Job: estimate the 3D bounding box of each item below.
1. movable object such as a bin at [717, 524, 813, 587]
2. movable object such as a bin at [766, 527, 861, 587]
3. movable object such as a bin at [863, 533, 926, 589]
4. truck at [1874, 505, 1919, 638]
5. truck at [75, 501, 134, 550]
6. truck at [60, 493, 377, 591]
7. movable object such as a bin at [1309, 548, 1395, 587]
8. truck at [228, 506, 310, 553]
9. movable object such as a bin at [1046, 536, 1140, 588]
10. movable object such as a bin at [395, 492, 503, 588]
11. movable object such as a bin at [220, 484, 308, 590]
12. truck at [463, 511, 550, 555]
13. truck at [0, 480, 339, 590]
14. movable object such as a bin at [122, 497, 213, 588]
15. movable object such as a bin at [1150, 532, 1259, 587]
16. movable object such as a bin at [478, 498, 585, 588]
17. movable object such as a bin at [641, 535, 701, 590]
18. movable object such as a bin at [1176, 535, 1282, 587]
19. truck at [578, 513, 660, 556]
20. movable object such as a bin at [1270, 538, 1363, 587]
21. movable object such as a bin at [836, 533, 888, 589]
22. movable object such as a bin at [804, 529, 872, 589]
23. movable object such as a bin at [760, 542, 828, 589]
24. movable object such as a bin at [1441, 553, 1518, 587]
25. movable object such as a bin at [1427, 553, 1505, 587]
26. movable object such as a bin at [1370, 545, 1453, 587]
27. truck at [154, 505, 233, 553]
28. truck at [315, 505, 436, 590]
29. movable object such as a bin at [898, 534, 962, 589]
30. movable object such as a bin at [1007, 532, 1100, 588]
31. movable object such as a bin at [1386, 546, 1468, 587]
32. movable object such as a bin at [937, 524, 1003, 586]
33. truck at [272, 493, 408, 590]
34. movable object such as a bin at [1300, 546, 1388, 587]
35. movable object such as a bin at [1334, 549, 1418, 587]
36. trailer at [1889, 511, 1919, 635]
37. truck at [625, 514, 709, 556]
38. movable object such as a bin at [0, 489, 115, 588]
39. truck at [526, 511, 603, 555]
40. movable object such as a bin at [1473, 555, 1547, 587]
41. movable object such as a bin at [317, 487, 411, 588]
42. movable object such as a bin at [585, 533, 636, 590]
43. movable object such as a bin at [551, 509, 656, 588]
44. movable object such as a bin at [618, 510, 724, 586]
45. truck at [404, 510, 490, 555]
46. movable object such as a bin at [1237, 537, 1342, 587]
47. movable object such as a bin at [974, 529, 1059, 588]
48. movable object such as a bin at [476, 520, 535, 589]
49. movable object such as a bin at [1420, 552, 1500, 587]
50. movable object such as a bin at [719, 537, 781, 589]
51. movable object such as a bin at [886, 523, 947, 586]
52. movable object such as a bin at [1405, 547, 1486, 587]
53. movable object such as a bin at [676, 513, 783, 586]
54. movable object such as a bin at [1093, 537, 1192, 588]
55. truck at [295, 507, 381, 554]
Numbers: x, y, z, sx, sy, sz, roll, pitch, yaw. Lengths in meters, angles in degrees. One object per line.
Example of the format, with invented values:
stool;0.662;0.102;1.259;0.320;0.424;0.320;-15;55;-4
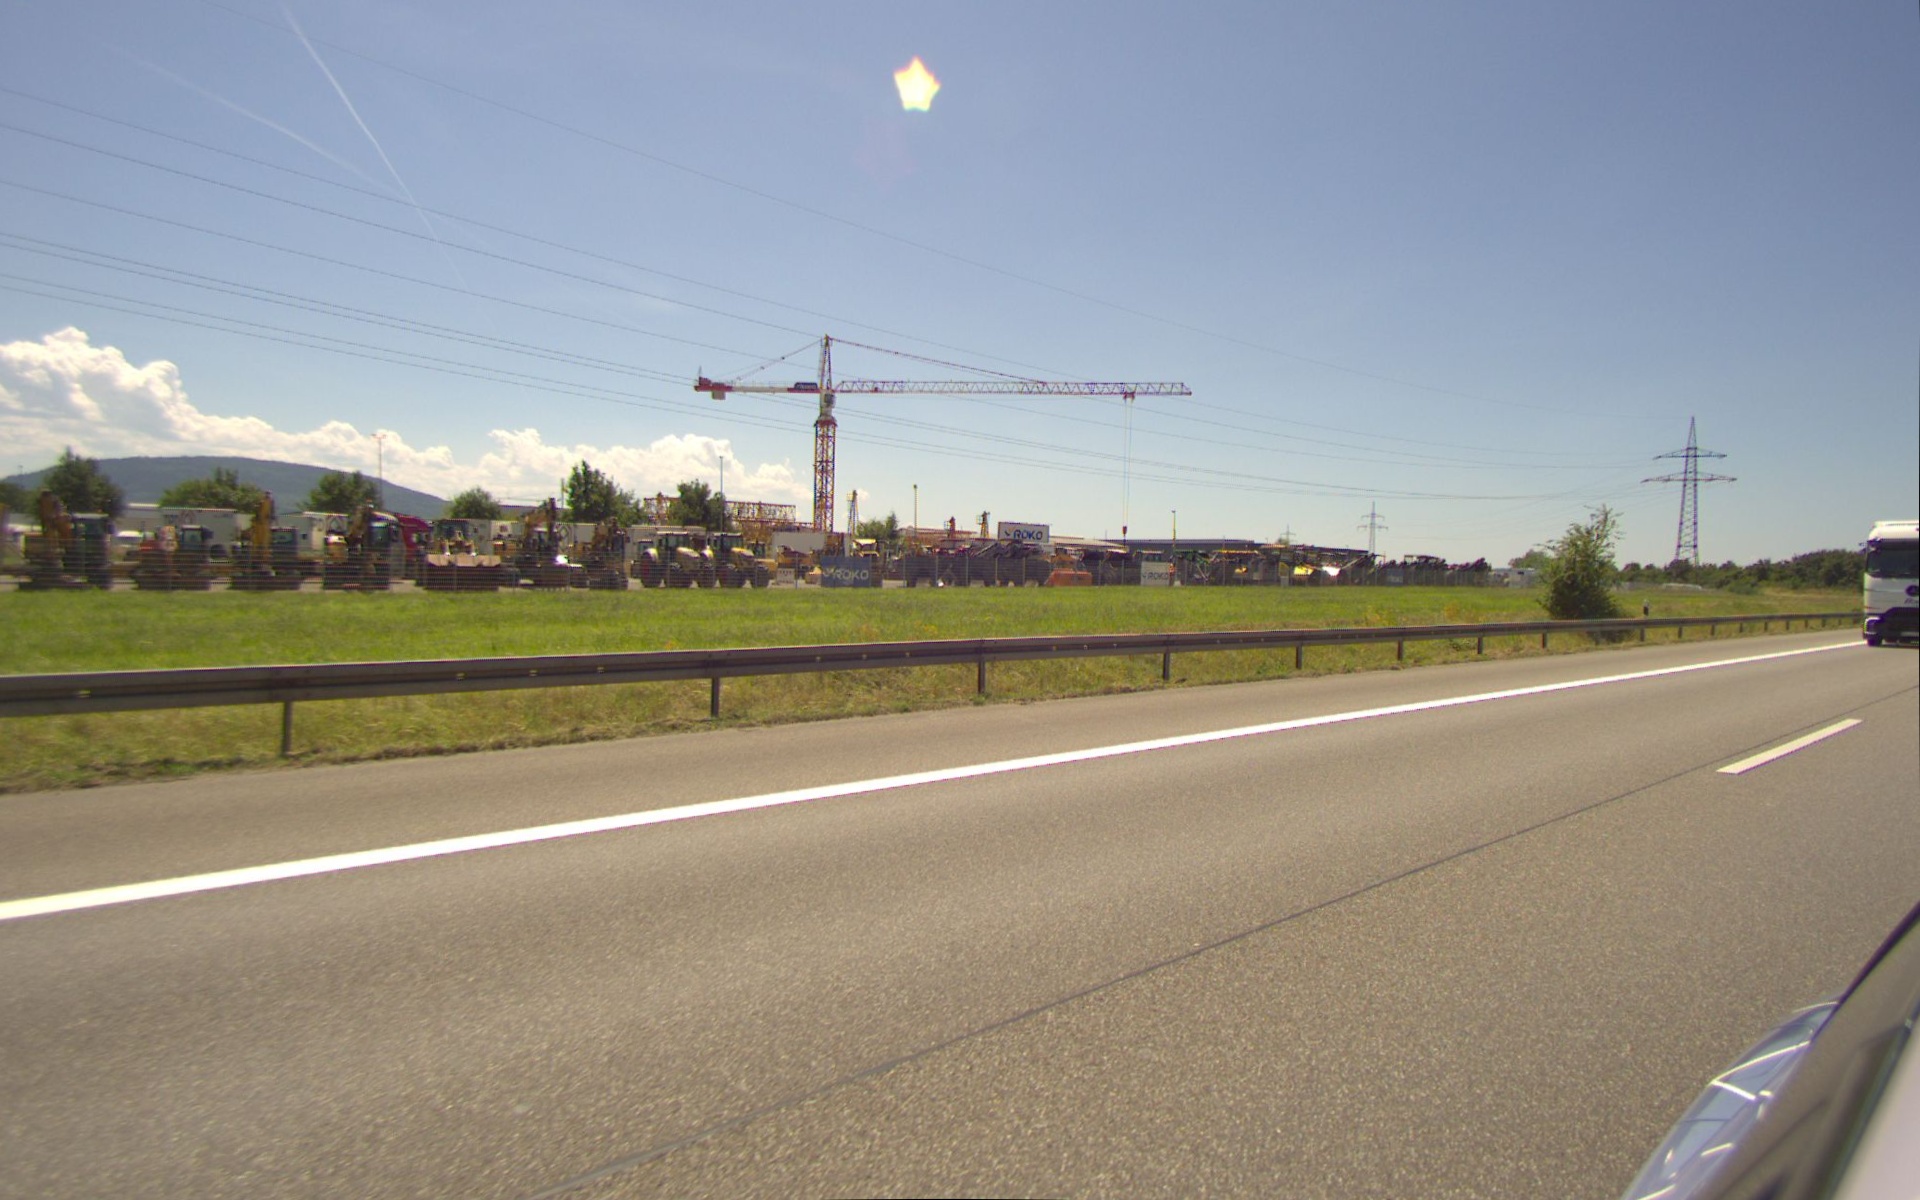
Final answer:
movable object such as a bin;-13.331;-2.893;68.559;3.080;4.001;8.114;0;0;-38
movable object such as a bin;-10.517;-2.935;71.776;3.080;4.001;8.114;0;0;-38
movable object such as a bin;-6.132;-3.434;92.922;3.072;4.803;9.625;0;0;-20
truck;30.751;-0.868;31.620;5.622;3.942;2.572;-1;1;-40
truck;-63.947;-5.541;75.613;2.713;3.453;8.153;0;3;-45
truck;-40.424;-2.967;56.033;13.880;4.832;3.051;-1;0;-39
movable object such as a bin;41.015;-3.342;106.156;2.829;3.955;8.114;0;0;-38
truck;-53.560;-5.452;78.363;8.122;3.453;2.603;3;3;35
movable object such as a bin;11.058;-3.091;85.556;3.365;4.103;9.403;0;0;-25
movable object such as a bin;-25.497;-2.779;50.264;3.290;4.351;8.114;0;0;-38
movable object such as a bin;-31.563;-2.641;45.723;2.829;4.351;8.114;0;0;-38
truck;-37.535;-5.576;83.642;8.122;3.453;2.802;3;3;35
truck;-38.713;-2.918;49.405;14.067;4.832;3.051;-1;0;-39
movable object such as a bin;-33.961;-2.272;43.470;2.829;3.507;8.114;0;0;-38
movable object such as a bin;21.414;-3.425;89.249;3.374;4.569;9.379;0;0;-38
movable object such as a bin;-22.749;-2.820;53.423;3.239;4.351;8.114;0;0;-38
movable object such as a bin;-22.664;-2.837;79.063;3.225;4.014;8.507;0;0;-25
movable object such as a bin;24.753;-3.481;93.782;3.374;4.569;9.379;0;0;-38
truck;-29.213;-5.641;86.477;8.137;3.453;2.797;4;3;40
movable object such as a bin;34.977;-3.581;99.505;3.289;4.569;8.114;0;0;-38
movable object such as a bin;-8.820;-3.401;90.727;2.658;4.803;7.171;0;0;-22
movable object such as a bin;-10.558;-3.389;86.677;3.225;4.865;8.507;0;0;-25
movable object such as a bin;-14.085;-2.808;85.342;3.226;3.762;7.903;0;0;-28
movable object such as a bin;64.310;-3.674;125.449;2.829;3.988;8.114;0;0;-38
movable object such as a bin;61.485;-3.590;123.170;2.829;3.955;8.114;0;0;-38
movable object such as a bin;50.317;-3.737;113.003;2.829;4.429;8.114;0;0;-38
truck;-58.278;-5.416;76.879;8.122;3.453;2.497;3;3;35
truck;-34.911;-3.034;60.532;5.875;4.832;3.051;0;0;-39
movable object such as a bin;-2.913;-3.460;94.195;3.072;4.803;9.625;0;0;-20
movable object such as a bin;7.199;-3.003;79.645;3.364;4.103;9.405;0;0;-22
movable object such as a bin;53.053;-3.770;115.241;2.829;4.429;8.114;0;0;-38
movable object such as a bin;0.573;-3.130;73.235;3.366;4.103;9.401;0;0;-8
truck;-33.072;-2.986;54.034;5.875;4.832;3.051;0;0;-39
movable object such as a bin;38.961;-3.304;103.026;2.829;3.955;8.114;0;0;-38
movable object such as a bin;44.777;-3.386;109.104;2.829;3.955;8.114;0;0;-38
trailer;35.720;-0.929;35.860;13.047;3.942;2.572;-1;1;-41
truck;-25.474;-5.671;87.746;8.132;3.453;2.798;4;3;38
movable object such as a bin;-35.474;-2.235;40.019;2.829;3.507;8.114;0;0;-38
truck;-33.281;-5.608;84.984;8.147;3.453;2.793;4;3;43
movable object such as a bin;72.046;-3.774;132.647;2.829;3.988;8.114;0;0;-38
movable object such as a bin;-28.335;-2.744;47.909;2.829;4.351;8.114;0;0;-38
movable object such as a bin;-26.645;-2.799;76.911;3.224;4.014;8.857;0;0;-22
movable object such as a bin;-19.741;-2.662;55.685;3.080;4.001;8.114;0;0;-38
movable object such as a bin;-16.712;-2.809;58.038;3.080;4.001;8.114;0;0;-38
truck;-41.735;-5.543;82.242;8.122;3.453;2.802;3;3;35
movable object such as a bin;31.658;-3.548;97.611;3.374;4.569;9.379;0;0;-38
movable object such as a bin;4.077;-2.994;76.054;3.364;4.103;9.406;0;0;-17
movable object such as a bin;-33.653;-3.224;74.736;3.227;4.709;8.849;0;0;-29
movable object such as a bin;59.472;-3.607;120.535;2.829;3.988;8.114;0;0;-38
movable object such as a bin;-17.584;-2.975;84.211;3.225;4.014;8.507;0;0;-25
movable object such as a bin;-3.247;-3.124;72.689;3.366;4.103;9.401;0;0;-8
movable object such as a bin;56.670;-3.814;118.239;2.829;4.429;8.114;0;0;-38
movable object such as a bin;-13.853;-2.842;60.250;3.080;4.001;8.114;0;0;-38
movable object such as a bin;15.618;-3.143;87.602;3.367;4.103;9.399;0;0;-28
truck;-49.033;-5.485;79.709;8.122;3.453;2.802;3;3;35
